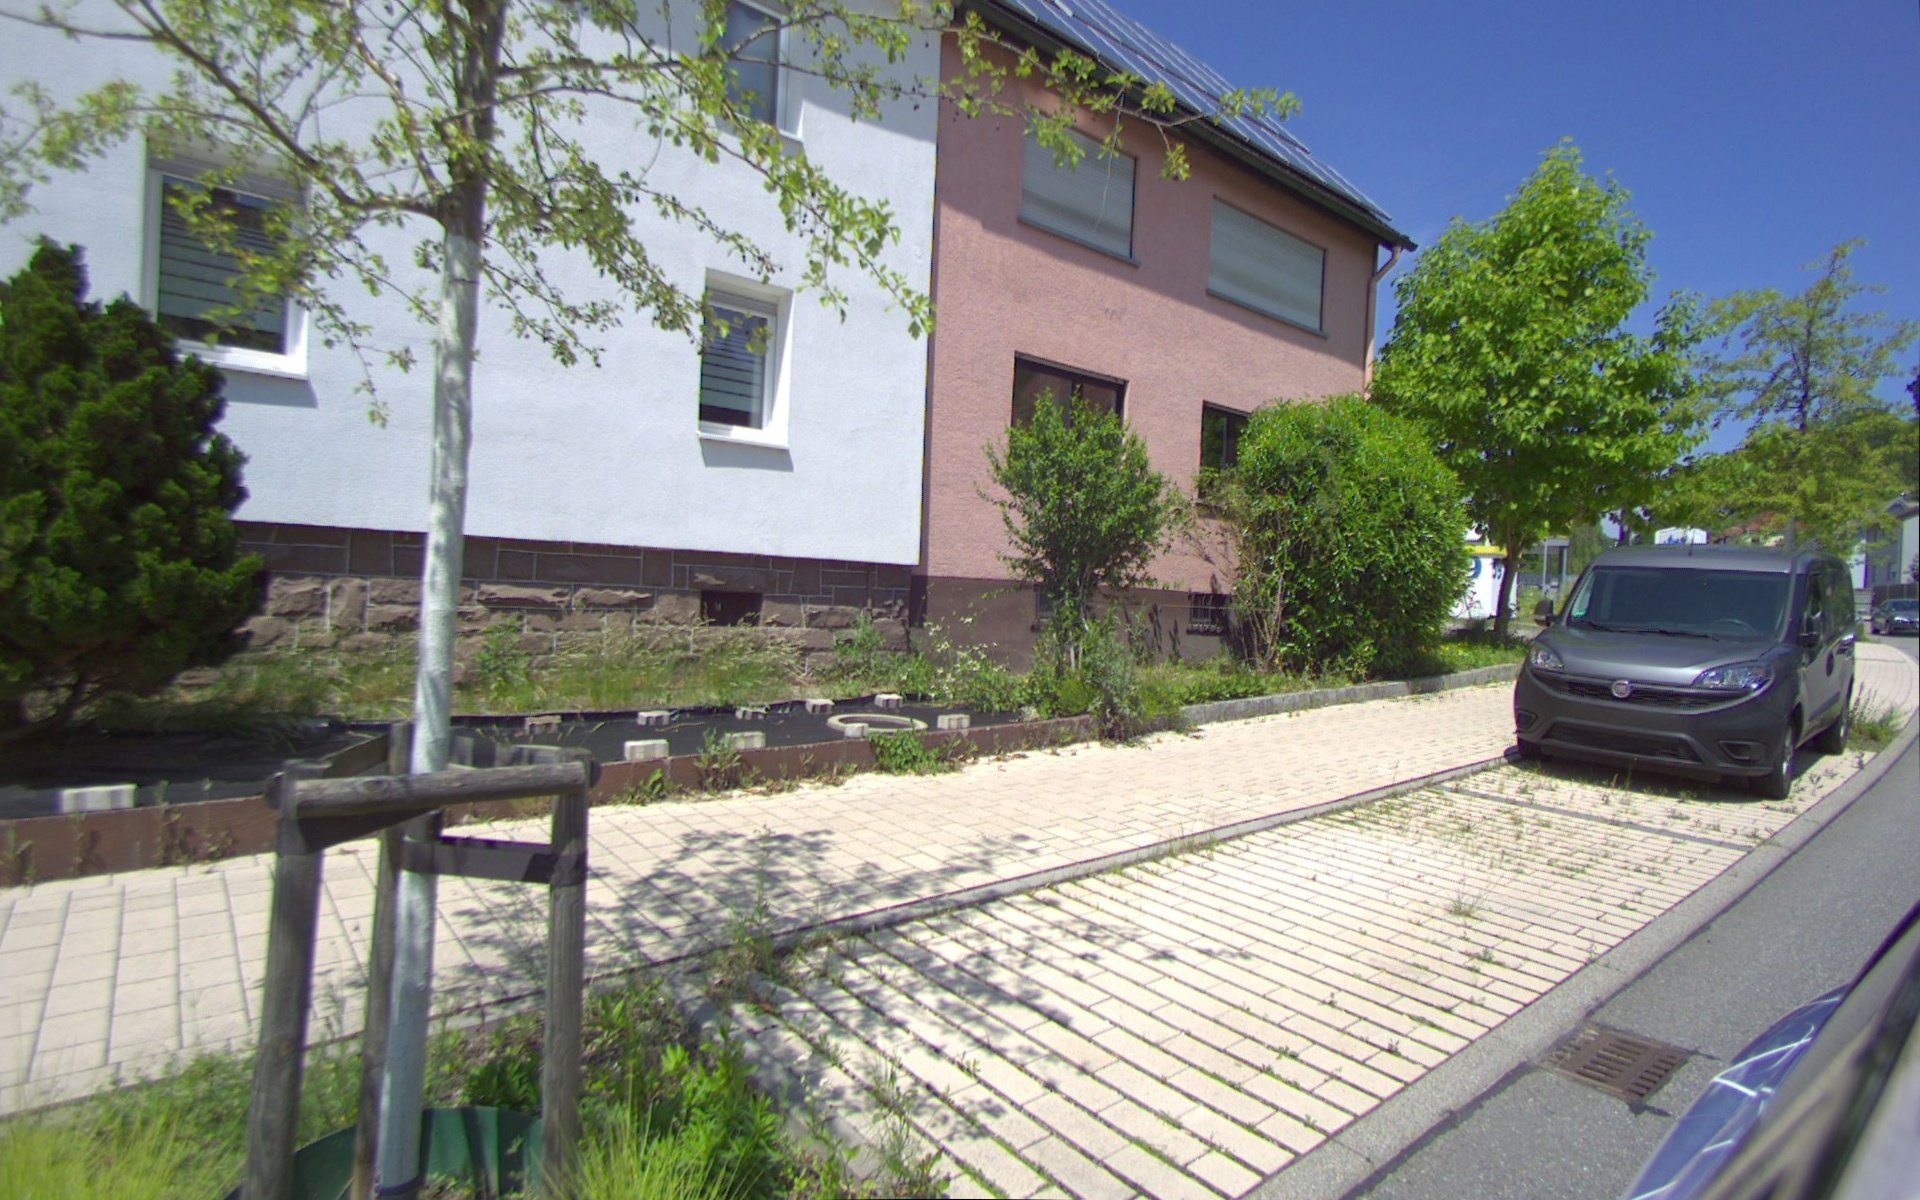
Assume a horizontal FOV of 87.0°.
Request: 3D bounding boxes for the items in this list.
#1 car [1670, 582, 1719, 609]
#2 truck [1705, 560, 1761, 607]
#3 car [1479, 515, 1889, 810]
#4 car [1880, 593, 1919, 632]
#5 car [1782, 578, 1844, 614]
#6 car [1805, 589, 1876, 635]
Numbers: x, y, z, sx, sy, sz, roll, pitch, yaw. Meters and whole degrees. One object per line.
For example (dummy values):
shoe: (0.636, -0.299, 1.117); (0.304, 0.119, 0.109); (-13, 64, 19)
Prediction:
car: (44.247, -0.274, 61.023); (1.635, 1.548, 3.831); (2, 1, 25)
truck: (59.458, -1.273, 78.010); (2.788, 3.457, 8.024); (1, 1, 33)
car: (6.347, 0.351, 8.635); (4.591, 1.865, 1.858); (0, 3, -42)
car: (36.037, 0.469, 37.824); (1.899, 1.366, 3.950); (2, 2, 35)
car: (47.102, -0.255, 55.965); (1.956, 1.856, 4.413); (3, 2, 33)
car: (29.725, 0.355, 34.198); (1.670, 1.393, 3.941); (4, 3, 41)
